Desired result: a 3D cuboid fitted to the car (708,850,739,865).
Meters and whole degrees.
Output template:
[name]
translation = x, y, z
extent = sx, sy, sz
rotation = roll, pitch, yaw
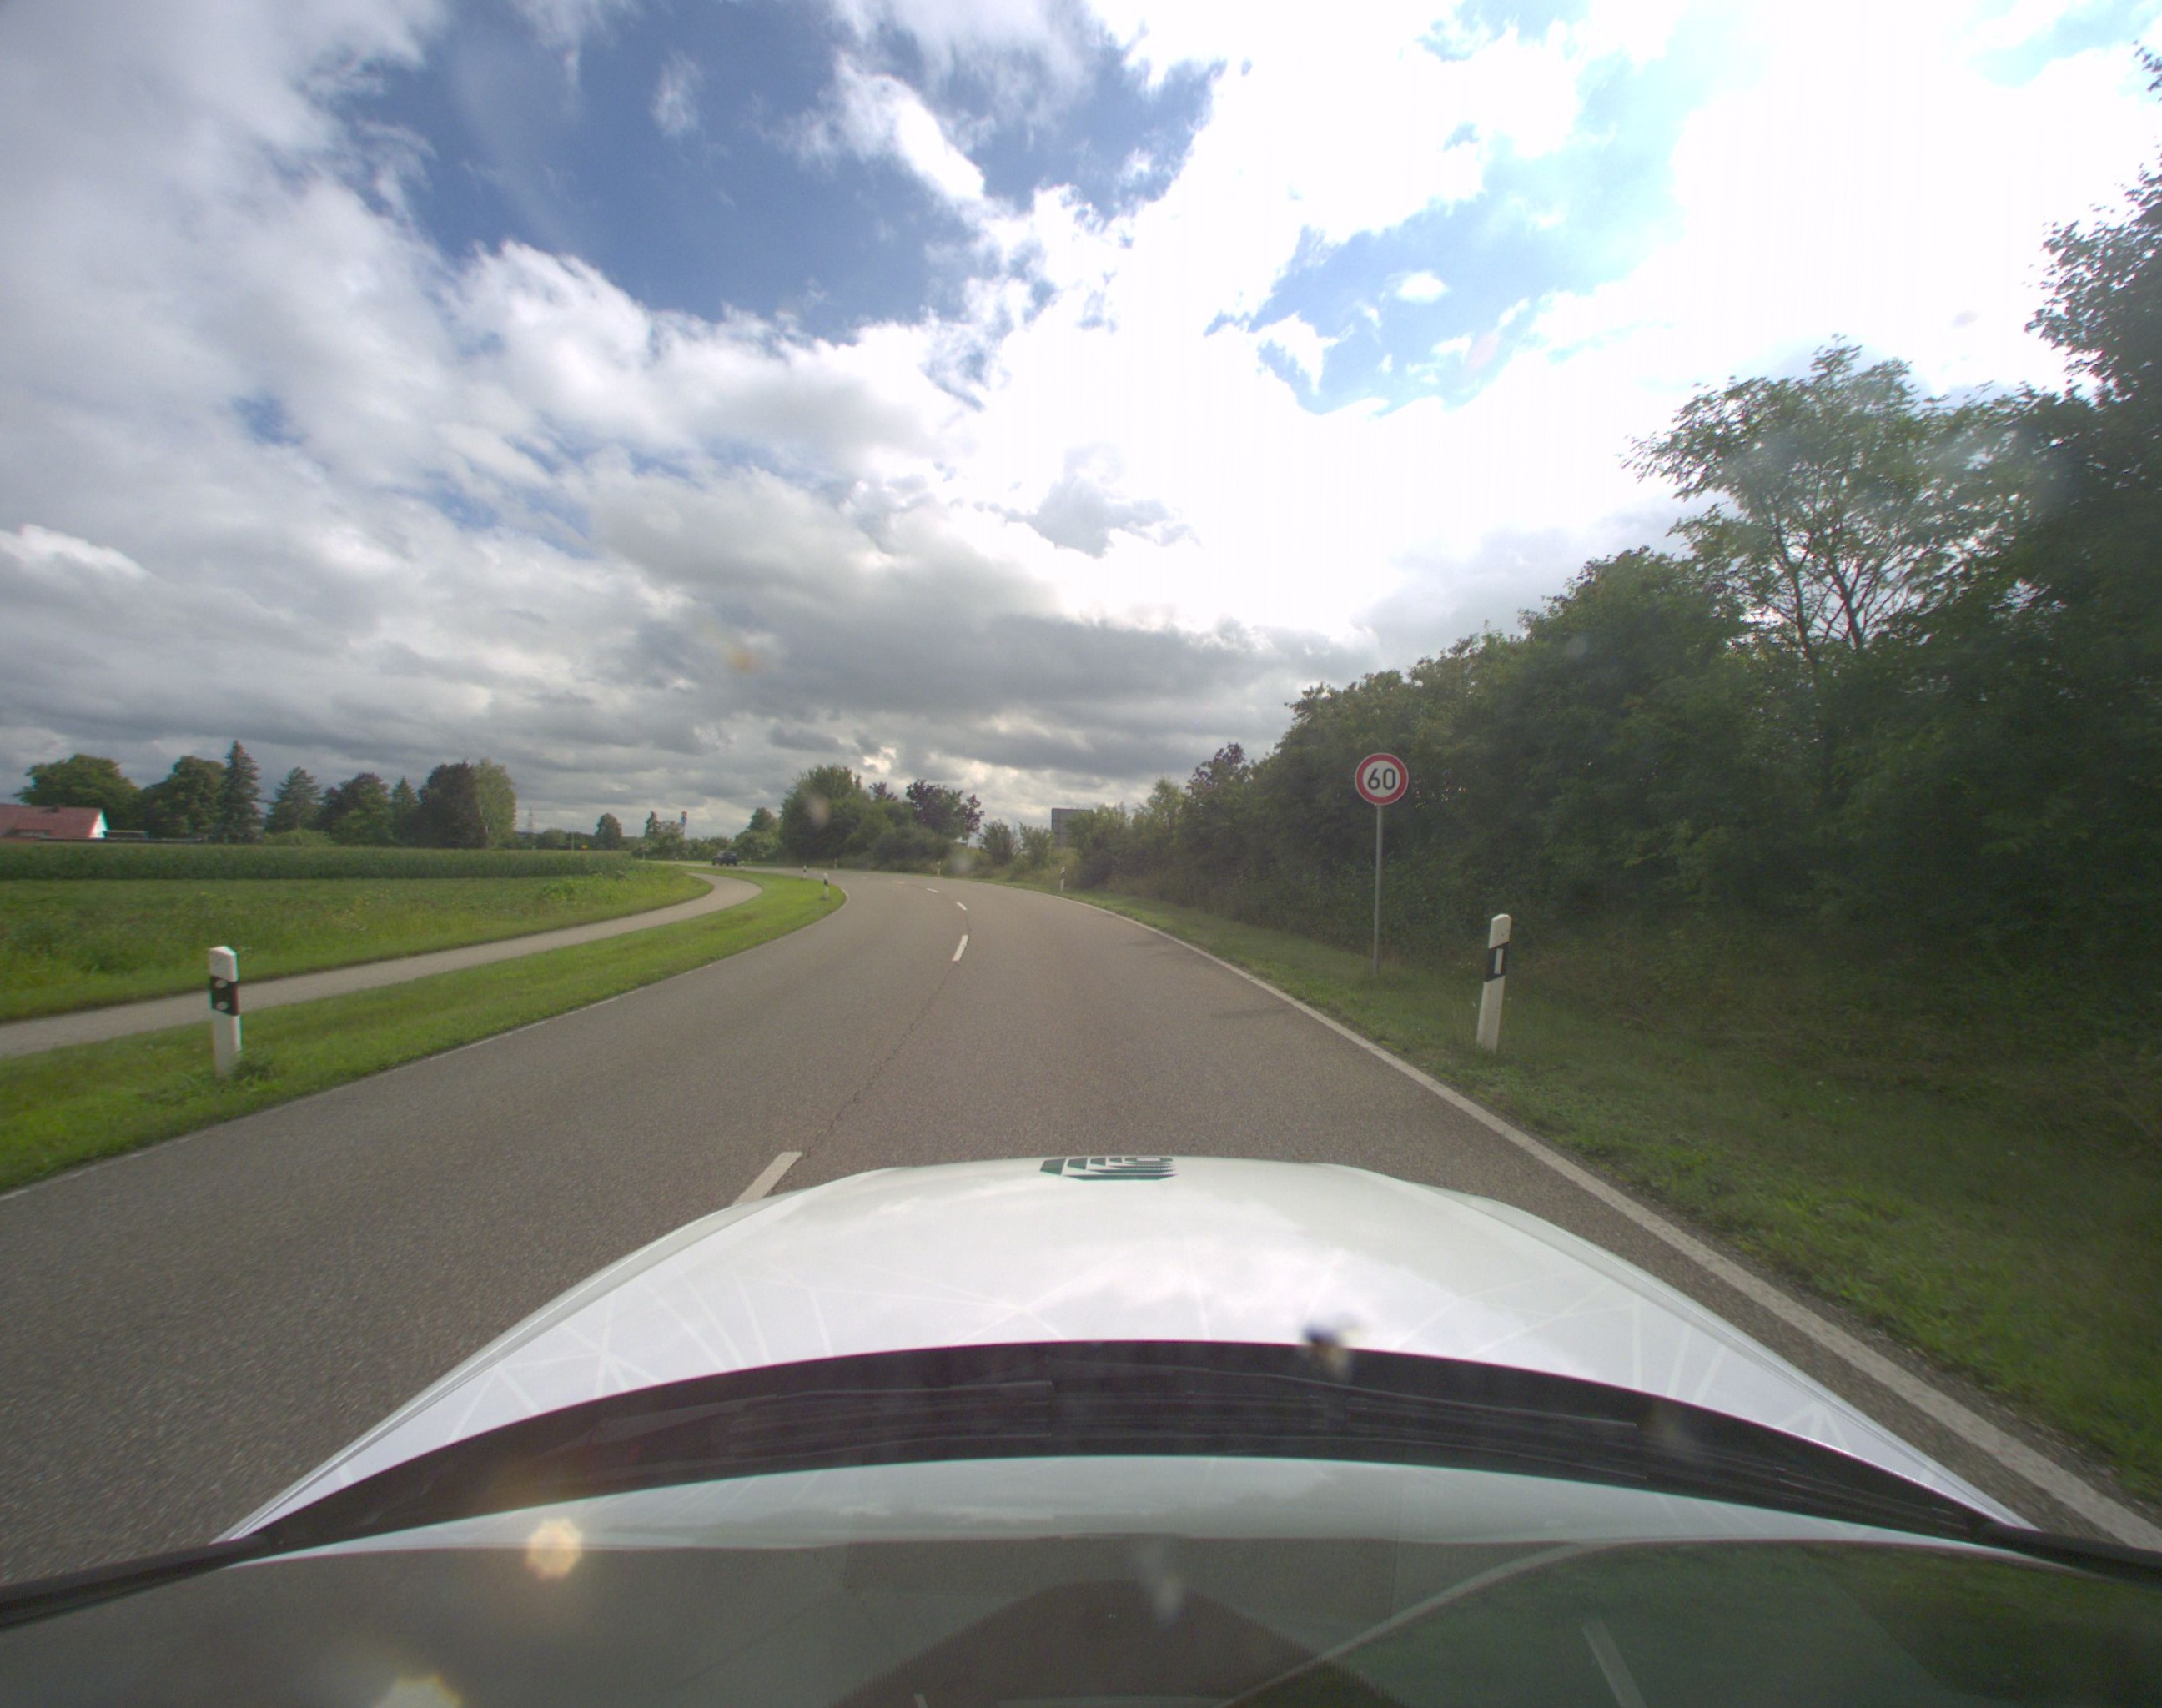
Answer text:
[car]
translation = -41.667, 0.394, 94.864
extent = 3.950, 1.666, 1.924
rotation = 0, 0, 44
